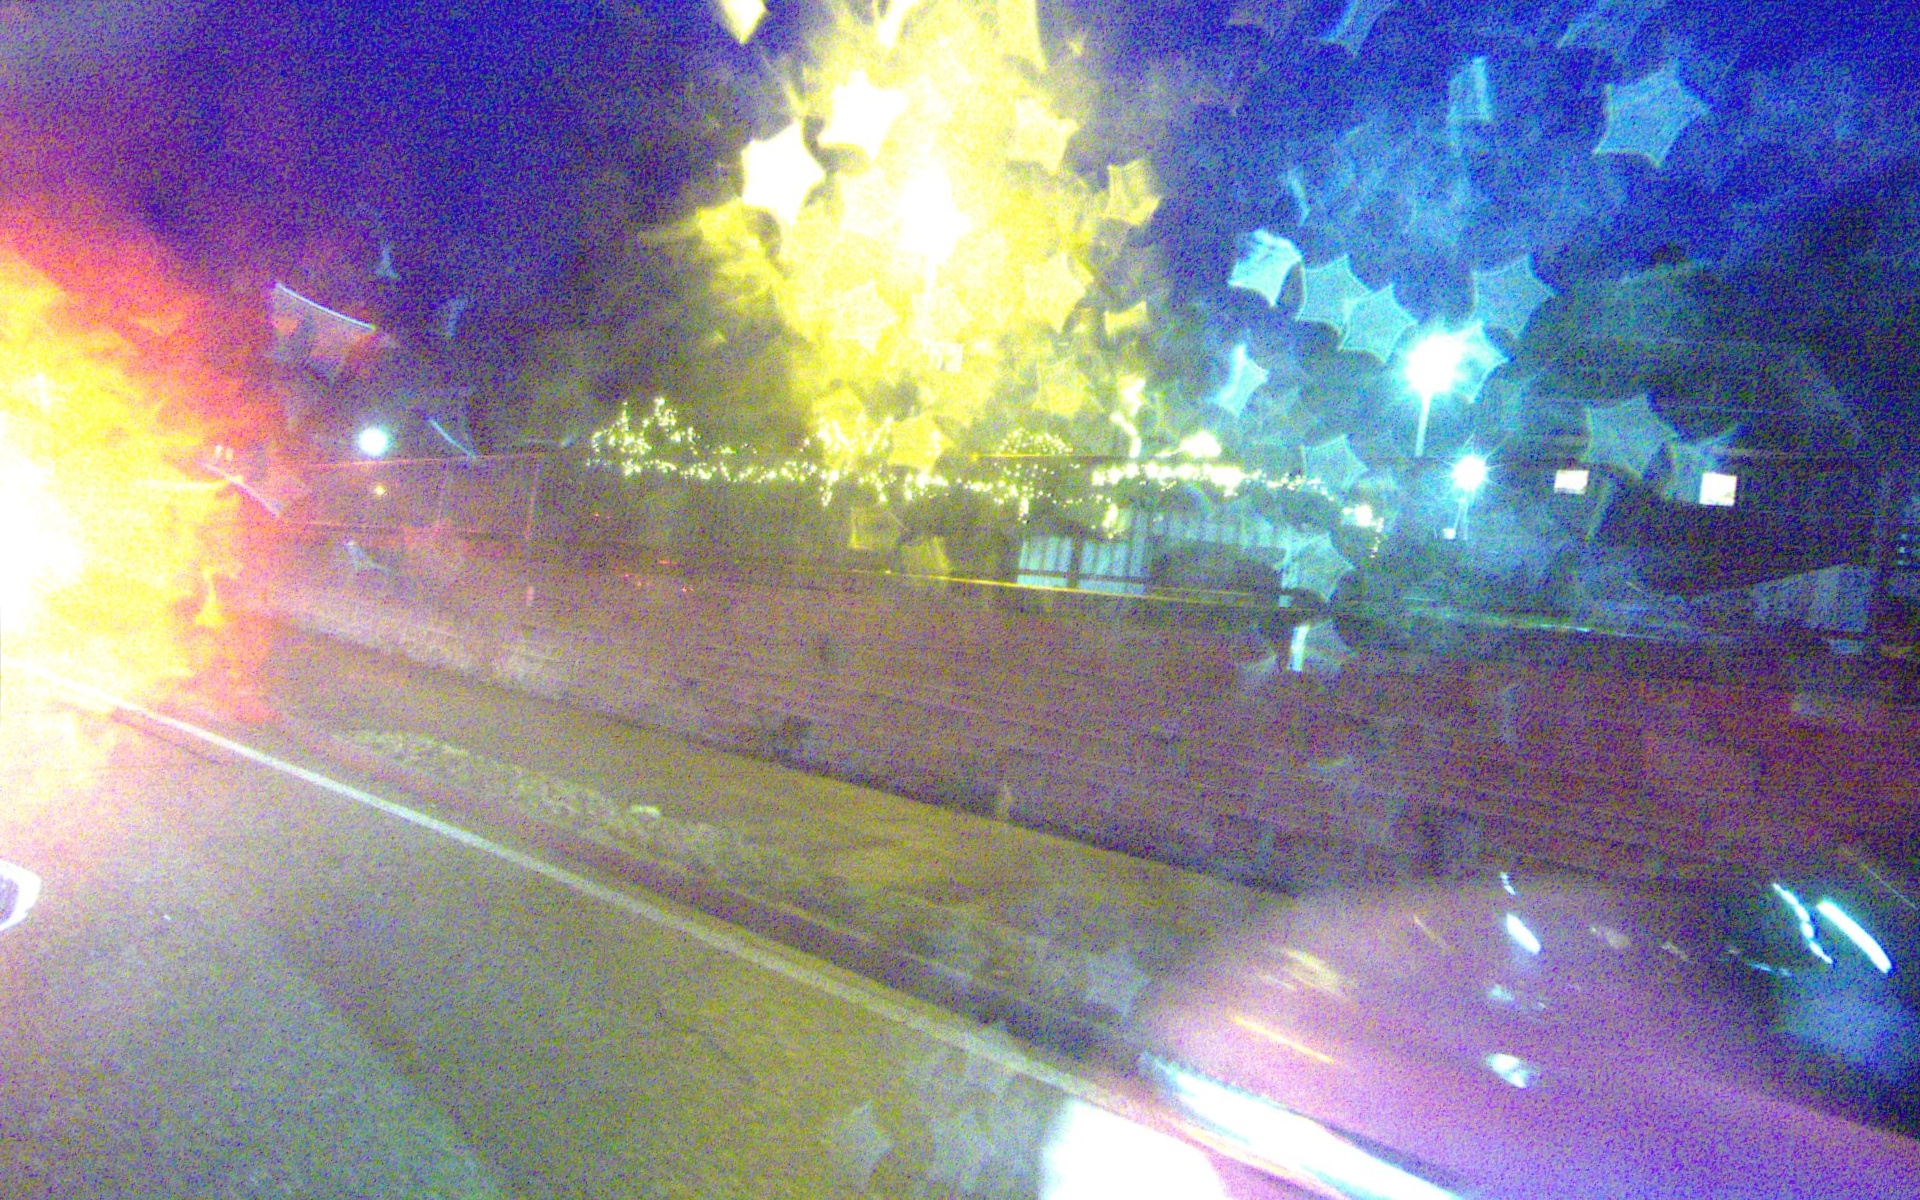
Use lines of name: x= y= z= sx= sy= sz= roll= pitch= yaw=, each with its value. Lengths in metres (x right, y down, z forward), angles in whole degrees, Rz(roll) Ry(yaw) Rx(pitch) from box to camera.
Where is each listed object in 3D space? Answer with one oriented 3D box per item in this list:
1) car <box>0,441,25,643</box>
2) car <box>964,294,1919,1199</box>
car: x=-10.784 y=-0.707 z=9.395 sx=4.150 sy=1.995 sz=1.945 roll=7 pitch=-1 yaw=33
car: x=2.428 y=0.888 z=0.812 sx=4.632 sy=1.839 sz=1.758 roll=7 pitch=-1 yaw=32
